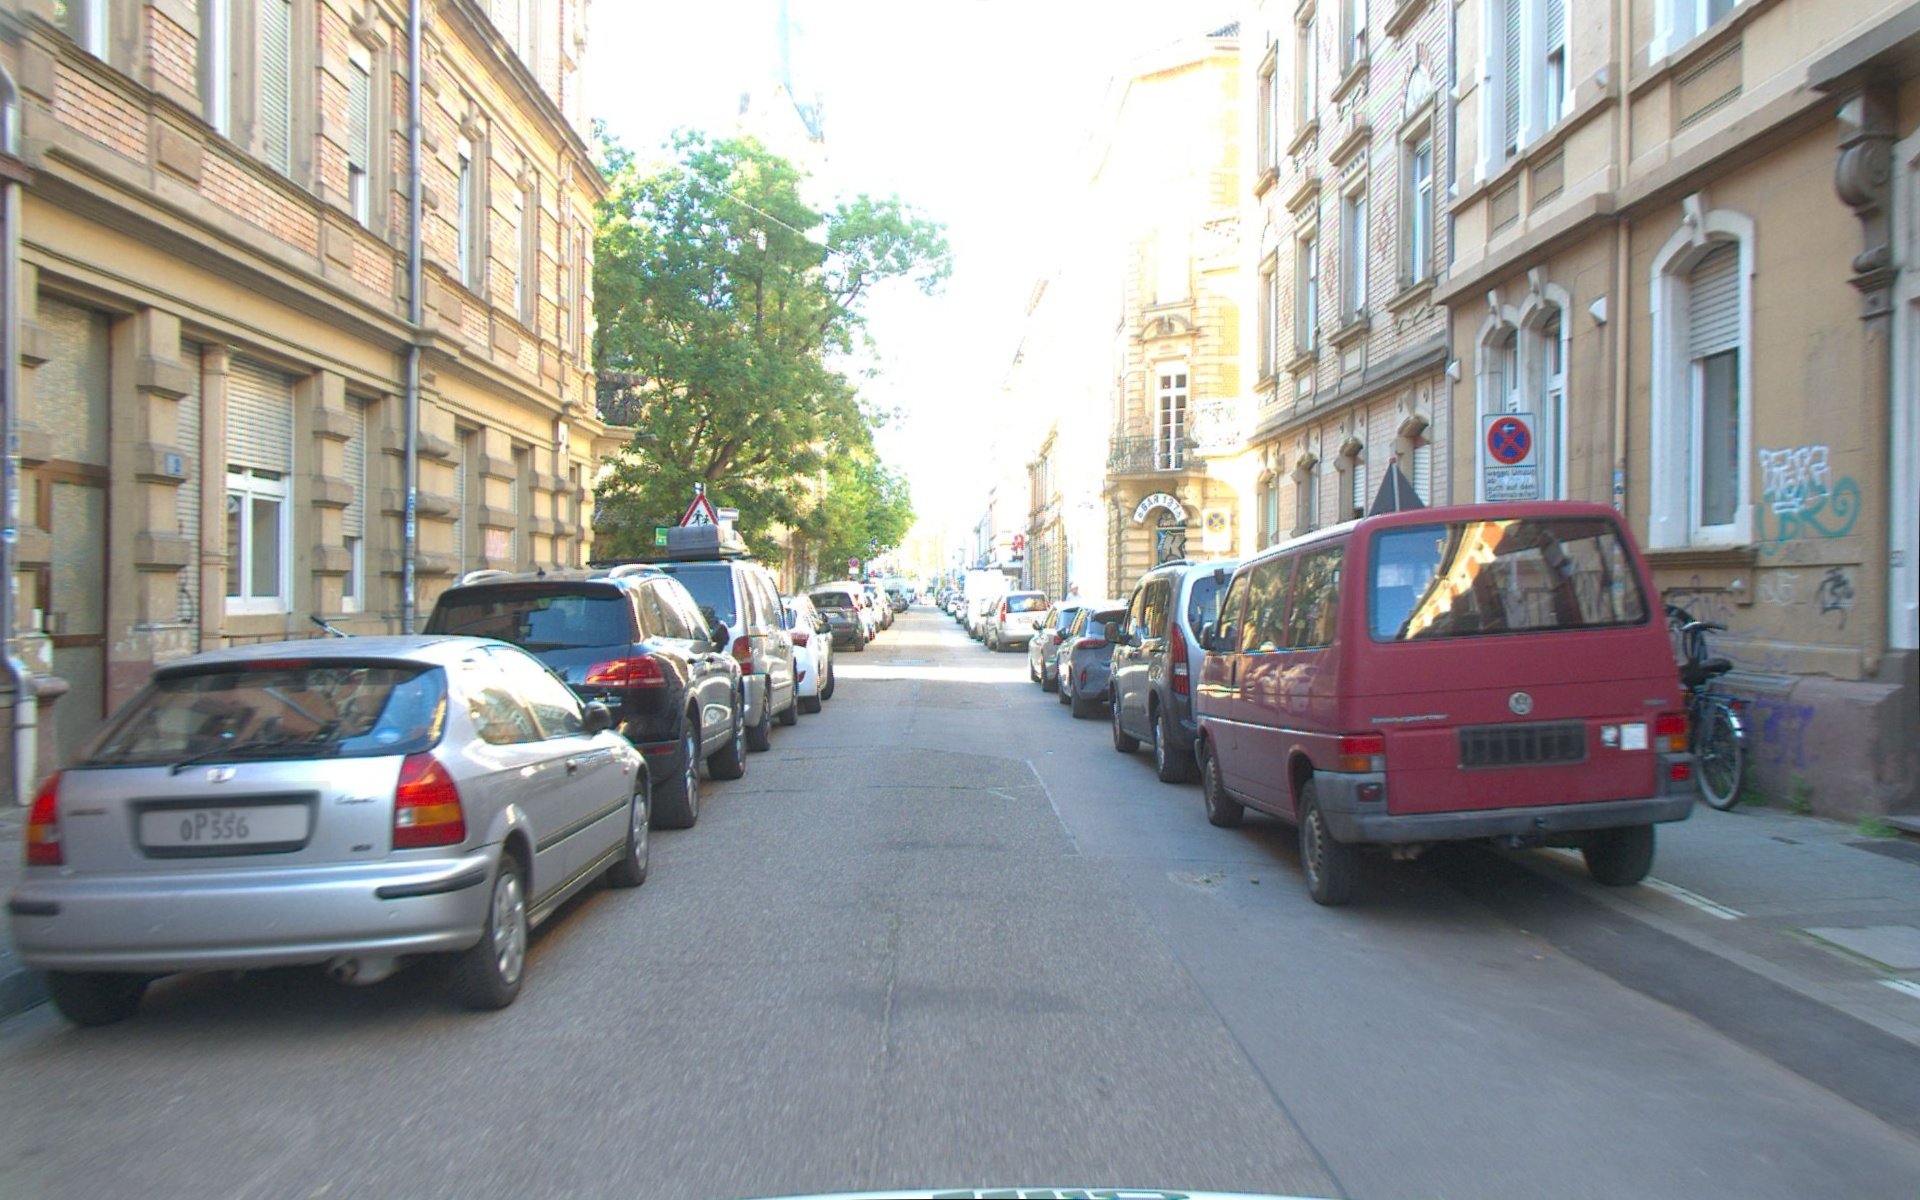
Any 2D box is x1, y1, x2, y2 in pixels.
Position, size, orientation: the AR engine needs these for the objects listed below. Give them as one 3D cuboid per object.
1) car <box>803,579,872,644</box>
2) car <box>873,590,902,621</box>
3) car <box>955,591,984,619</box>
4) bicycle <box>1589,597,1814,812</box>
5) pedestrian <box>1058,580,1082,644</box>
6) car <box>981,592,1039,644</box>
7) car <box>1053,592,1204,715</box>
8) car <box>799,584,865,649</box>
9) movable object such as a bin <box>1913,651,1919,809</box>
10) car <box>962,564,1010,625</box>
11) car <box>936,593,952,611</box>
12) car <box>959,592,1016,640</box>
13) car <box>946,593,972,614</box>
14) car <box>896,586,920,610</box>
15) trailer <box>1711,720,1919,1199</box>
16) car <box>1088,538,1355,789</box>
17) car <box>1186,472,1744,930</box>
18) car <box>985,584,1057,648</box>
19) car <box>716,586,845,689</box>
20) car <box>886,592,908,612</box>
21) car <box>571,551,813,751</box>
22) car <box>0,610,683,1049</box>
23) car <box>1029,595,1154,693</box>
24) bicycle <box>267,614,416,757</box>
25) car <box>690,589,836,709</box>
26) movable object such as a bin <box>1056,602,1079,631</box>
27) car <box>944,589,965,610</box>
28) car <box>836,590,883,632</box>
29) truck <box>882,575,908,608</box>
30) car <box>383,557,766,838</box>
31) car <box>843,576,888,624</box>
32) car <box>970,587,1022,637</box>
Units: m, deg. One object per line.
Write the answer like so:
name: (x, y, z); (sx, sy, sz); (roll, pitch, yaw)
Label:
car: (-3.722, 0.308, 50.987); (1.808, 1.895, 4.465); (0, 1, 0)
car: (-4.091, 0.309, 93.698); (1.568, 1.642, 3.807); (-2, 0, -2)
car: (0.534, 0.271, 92.625); (1.571, 1.531, 4.000); (1, 0, 0)
bicycle: (5.067, 0.666, 11.426); (0.712, 1.326, 1.692); (-3, 0, -1)
pedestrian: (3.065, 0.335, 46.097); (0.562, 1.763, 0.663); (-1, 1, -2)
car: (1.530, 0.547, 52.049); (1.504, 1.539, 3.679); (-1, 0, -3)
car: (2.241, 0.668, 22.826); (1.632, 1.505, 3.887); (0, 1, -1)
car: (-3.468, 0.419, 45.307); (1.706, 1.675, 4.286); (0, 0, -3)
movable object such as a bin: (5.220, 0.774, 7.893); (0.878, 1.080, 0.722); (-3, 0, -4)
car: (1.168, -0.270, 76.636); (2.026, 2.656, 5.886); (1, 0, -1)
car: (-1.943, 0.230, 197.400); (1.953, 2.049, 3.999); (0, 0, -1)
car: (0.941, 0.519, 57.724); (1.541, 1.551, 3.904); (2, 0, -5)
car: (-0.062, 0.231, 121.053); (1.859, 1.514, 3.868); (0, 0, -1)
car: (-4.141, -0.165, 132.826); (1.837, 1.828, 3.999); (0, 0, -1)
trailer: (2.765, 0.929, 2.766); (1.475, 1.132, 3.037); (3, 0, -3)
car: (2.292, 0.508, 15.583); (1.733, 1.995, 4.263); (2, 0, -1)
car: (2.639, 0.453, 9.942); (1.795, 2.049, 4.741); (2, 0, -1)
car: (1.694, 0.423, 47.157); (1.669, 1.744, 3.935); (-1, 0, -3)
car: (-2.853, 0.562, 27.036); (1.687, 1.507, 4.089); (1, 0, -1)
car: (-5.924, 0.174, 154.944); (1.839, 1.828, 3.996); (0, 0, -5)
car: (-2.705, 0.468, 17.737); (1.854, 1.816, 4.607); (1, 0, -1)
car: (-2.418, 0.772, 7.457); (1.664, 1.337, 3.999); (3, 0, -1)
car: (2.159, 0.682, 28.222); (1.671, 1.484, 4.510); (1, 0, -1)
bicycle: (-5.561, 0.736, 14.980); (0.653, 1.145, 1.785); (3, 1, -1)
car: (-2.583, 0.600, 22.371); (1.640, 1.445, 3.872); (1, 0, -3)
movable object such as a bin: (3.975, 0.611, 61.301); (0.543, 1.071, 0.596); (-3, 1, -34)
car: (-0.457, -0.022, 141.571); (1.733, 1.771, 3.999); (0, 0, -1)
car: (-4.036, 0.418, 66.806); (1.707, 1.614, 3.868); (0, 0, -1)
truck: (-6.717, -0.875, 171.202); (2.480, 3.339, 6.993); (0, 0, -1)
car: (-2.596, 0.581, 12.294); (1.751, 1.652, 4.607); (1, 0, 0)
car: (-4.120, 0.002, 72.729); (1.826, 1.991, 4.608); (-2, 0, -2)
car: (1.303, 0.445, 61.831); (1.771, 1.719, 4.213); (2, 0, -1)
